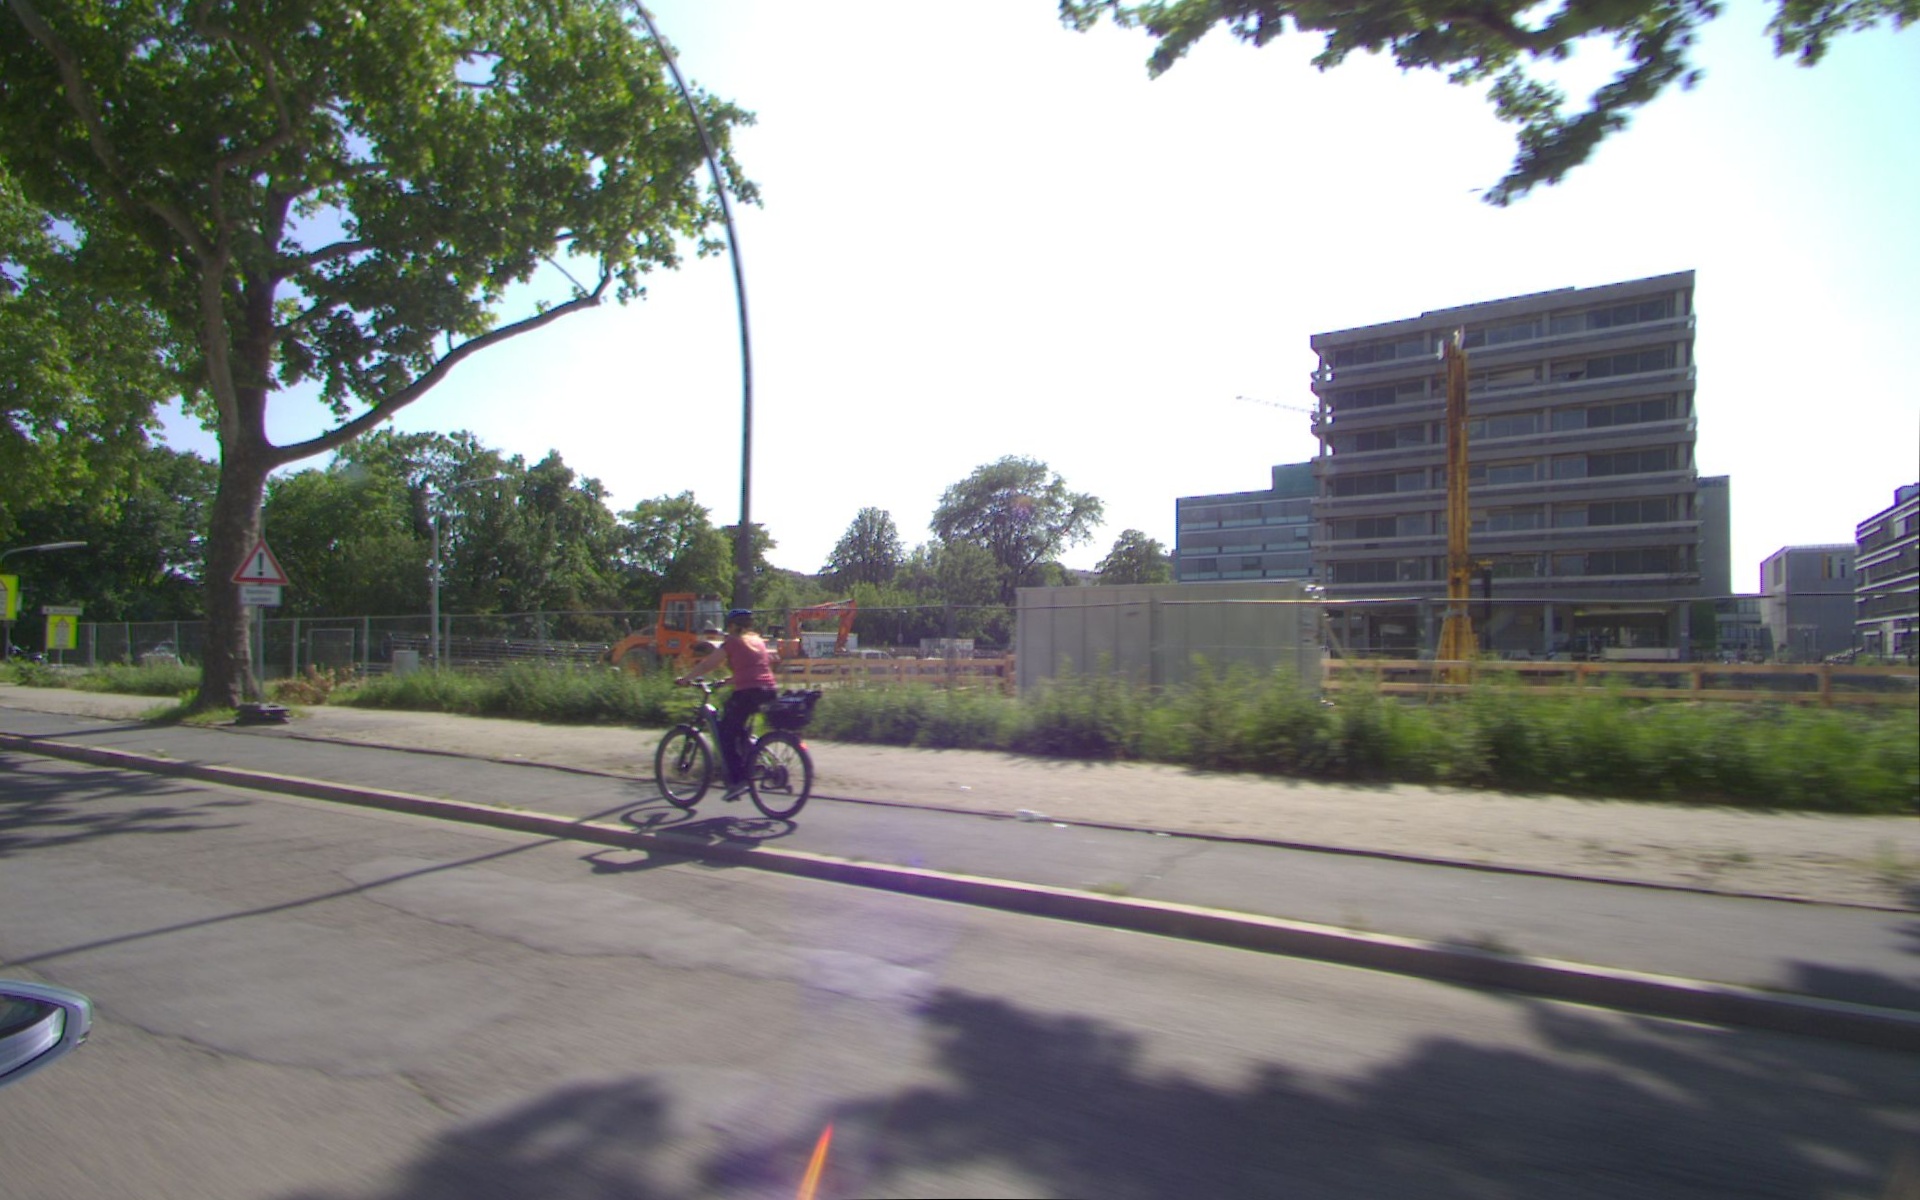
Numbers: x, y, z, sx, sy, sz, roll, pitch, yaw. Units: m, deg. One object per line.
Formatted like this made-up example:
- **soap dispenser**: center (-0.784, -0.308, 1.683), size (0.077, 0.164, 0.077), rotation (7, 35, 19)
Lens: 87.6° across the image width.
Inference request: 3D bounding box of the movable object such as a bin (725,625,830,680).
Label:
- **movable object such as a bin**: center (-10.427, 3.019, 57.513), size (3.248, 3.012, 5.169), rotation (-1, -3, 33)

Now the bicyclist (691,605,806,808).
- **bicyclist**: center (-1.781, 0.860, 8.464), size (0.721, 1.621, 0.619), rotation (0, 0, 31)

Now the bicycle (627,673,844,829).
- **bicycle**: center (-1.949, 1.228, 8.575), size (1.918, 1.144, 0.650), rotation (-1, -1, 32)

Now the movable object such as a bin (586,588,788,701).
- **movable object such as a bin**: center (-8.255, 1.323, 30.130), size (5.895, 3.110, 2.368), rotation (-1, -3, 30)

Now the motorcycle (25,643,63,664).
- **motorcycle**: center (-43.448, 2.557, 47.501), size (0.463, 0.979, 1.220), rotation (0, -3, 26)

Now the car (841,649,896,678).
- **car**: center (-5.852, 4.089, 64.500), size (1.788, 1.788, 3.509), rotation (-1, -3, 33)

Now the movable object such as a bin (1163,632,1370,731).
- **movable object such as a bin**: center (17.820, 4.711, 59.814), size (6.636, 5.240, 11.767), rotation (1, -3, -15)

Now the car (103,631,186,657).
- **car**: center (-47.752, 2.592, 58.749), size (1.651, 1.472, 4.003), rotation (1, -3, -1)
